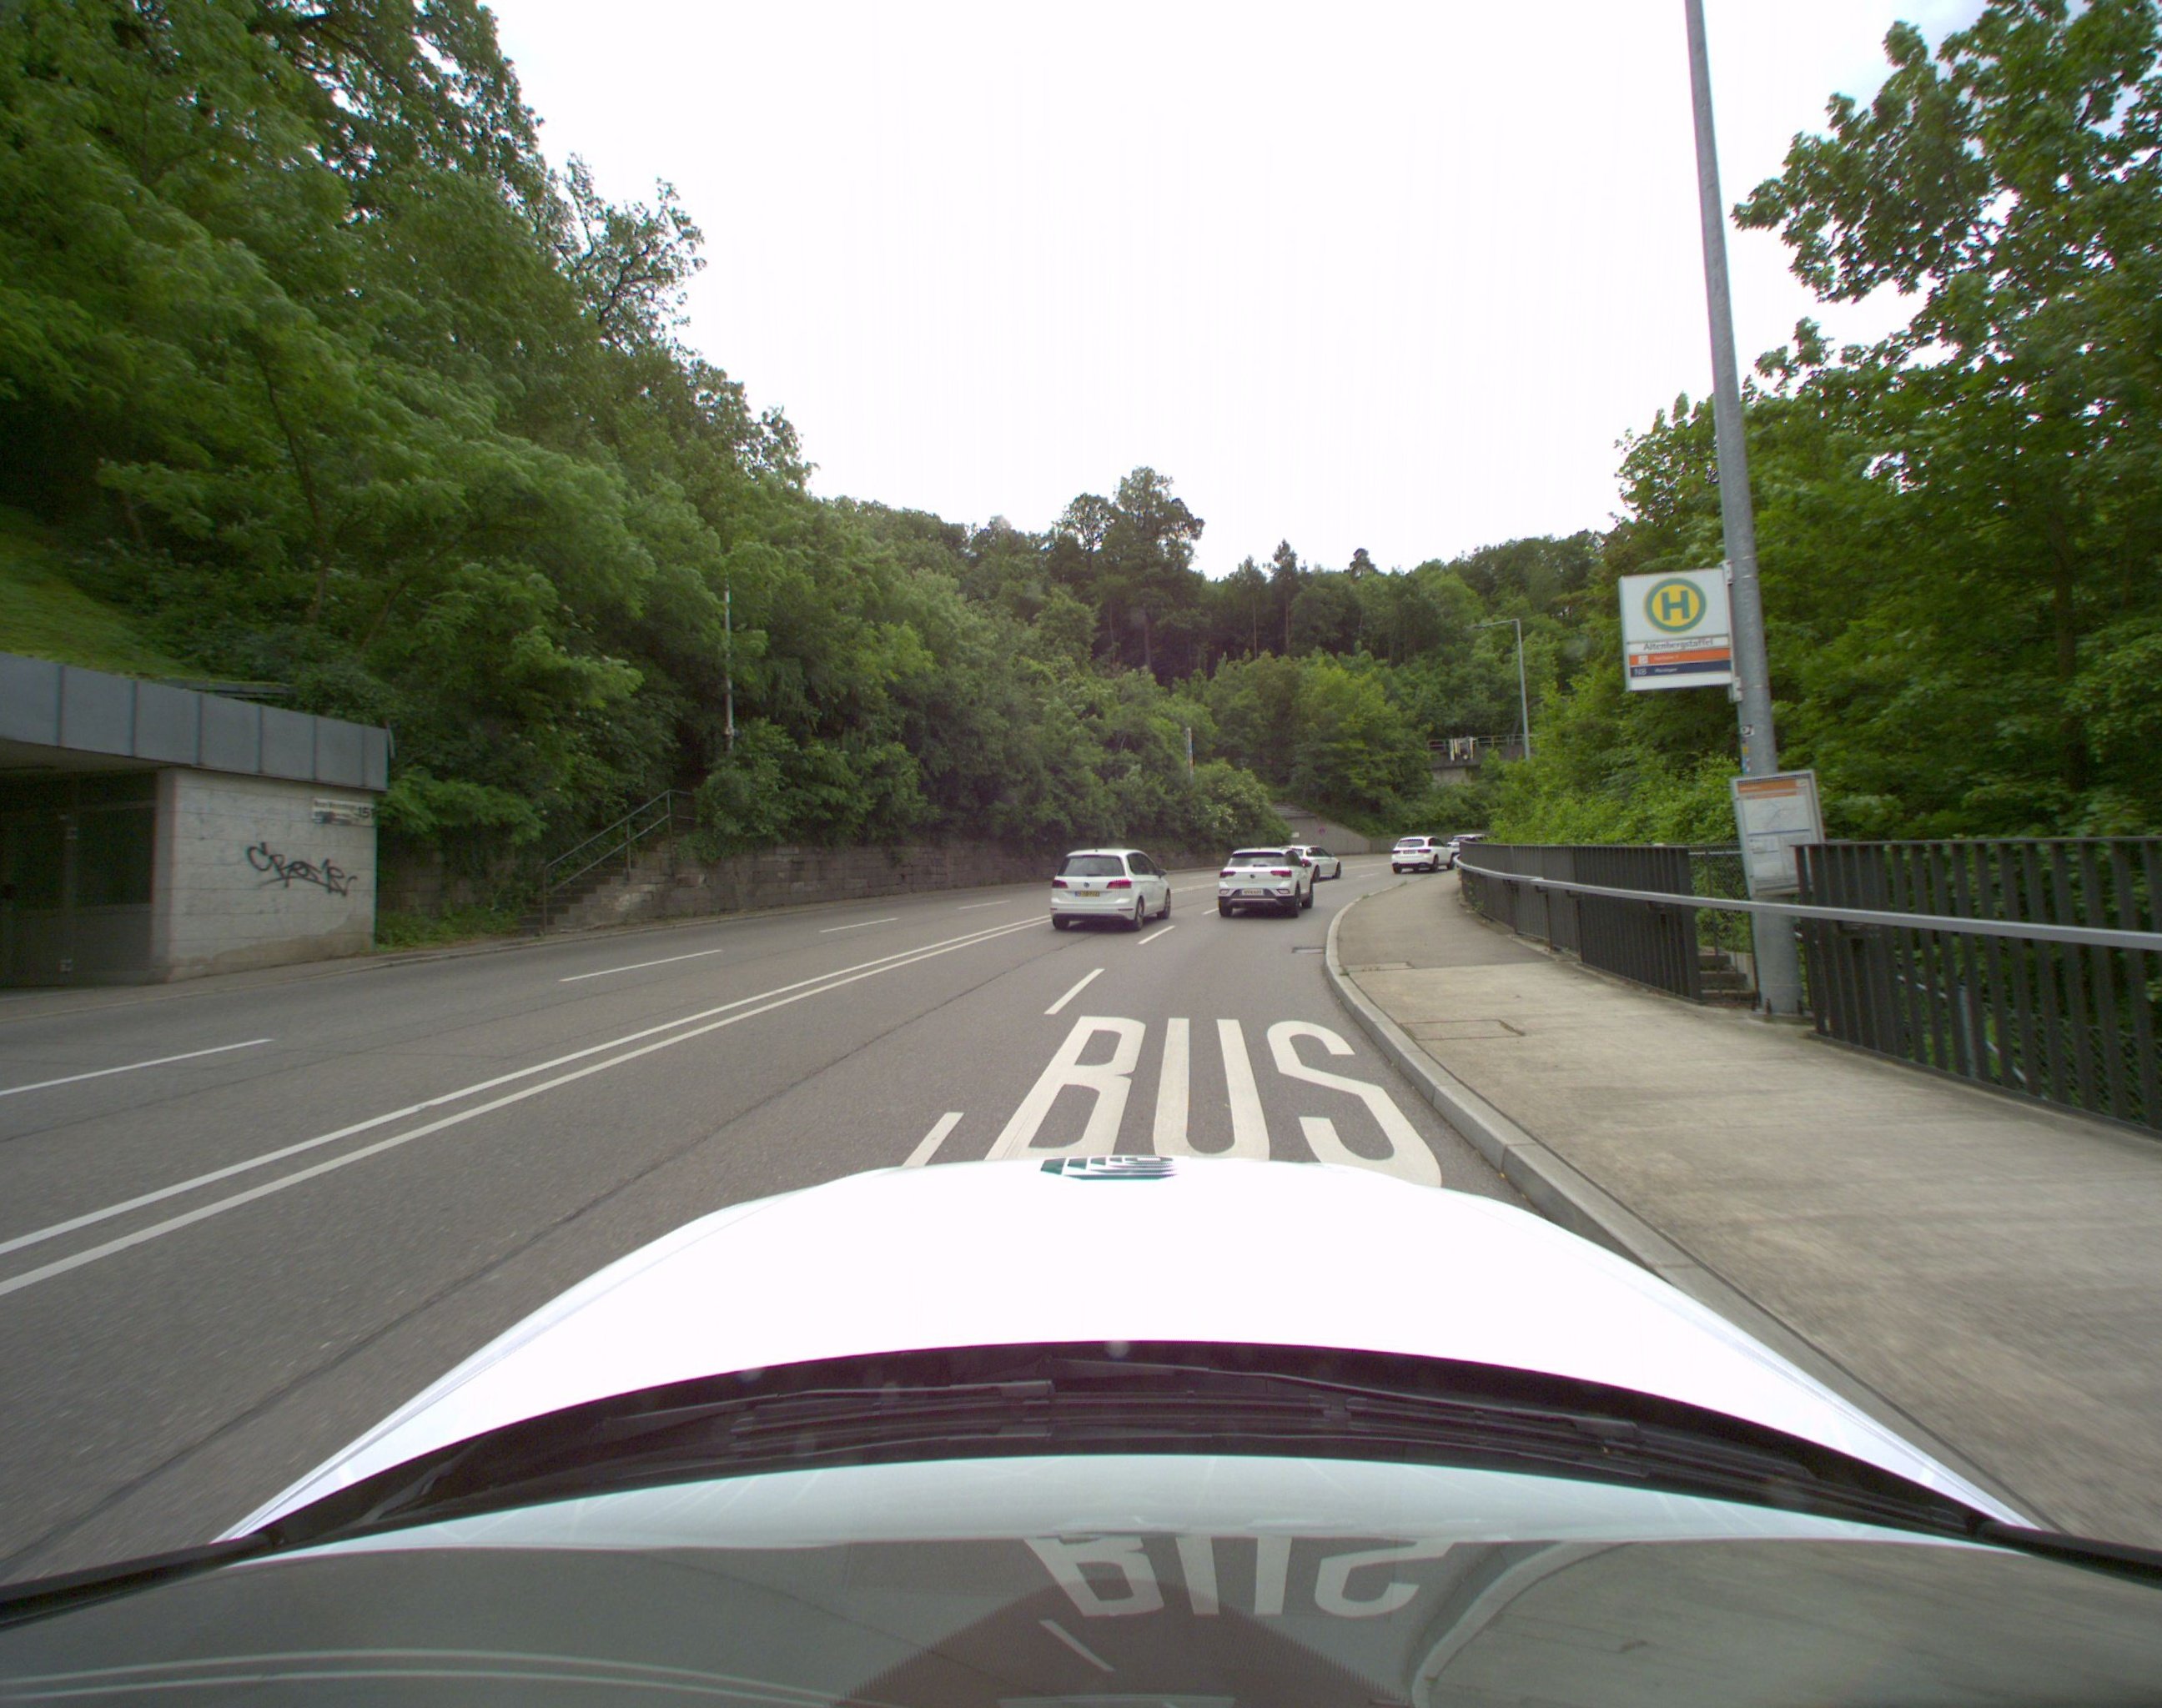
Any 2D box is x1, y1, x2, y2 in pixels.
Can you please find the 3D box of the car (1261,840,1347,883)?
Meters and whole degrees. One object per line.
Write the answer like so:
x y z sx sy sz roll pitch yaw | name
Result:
9.200 0.270 33.370 1.974 1.557 4.711 2 1 34 | car

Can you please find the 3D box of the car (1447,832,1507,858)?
25.235 -0.561 51.833 4.329 1.519 1.727 2 -1 -39 | car

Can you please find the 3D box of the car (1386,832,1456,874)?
15.690 -0.010 37.463 1.974 1.843 4.176 0 -1 37 | car

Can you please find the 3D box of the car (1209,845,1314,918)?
4.421 0.606 19.524 1.798 1.539 4.029 -2 -1 21 | car

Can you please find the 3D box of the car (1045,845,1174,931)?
0.738 0.621 17.096 1.707 1.554 4.293 0 0 16 | car
